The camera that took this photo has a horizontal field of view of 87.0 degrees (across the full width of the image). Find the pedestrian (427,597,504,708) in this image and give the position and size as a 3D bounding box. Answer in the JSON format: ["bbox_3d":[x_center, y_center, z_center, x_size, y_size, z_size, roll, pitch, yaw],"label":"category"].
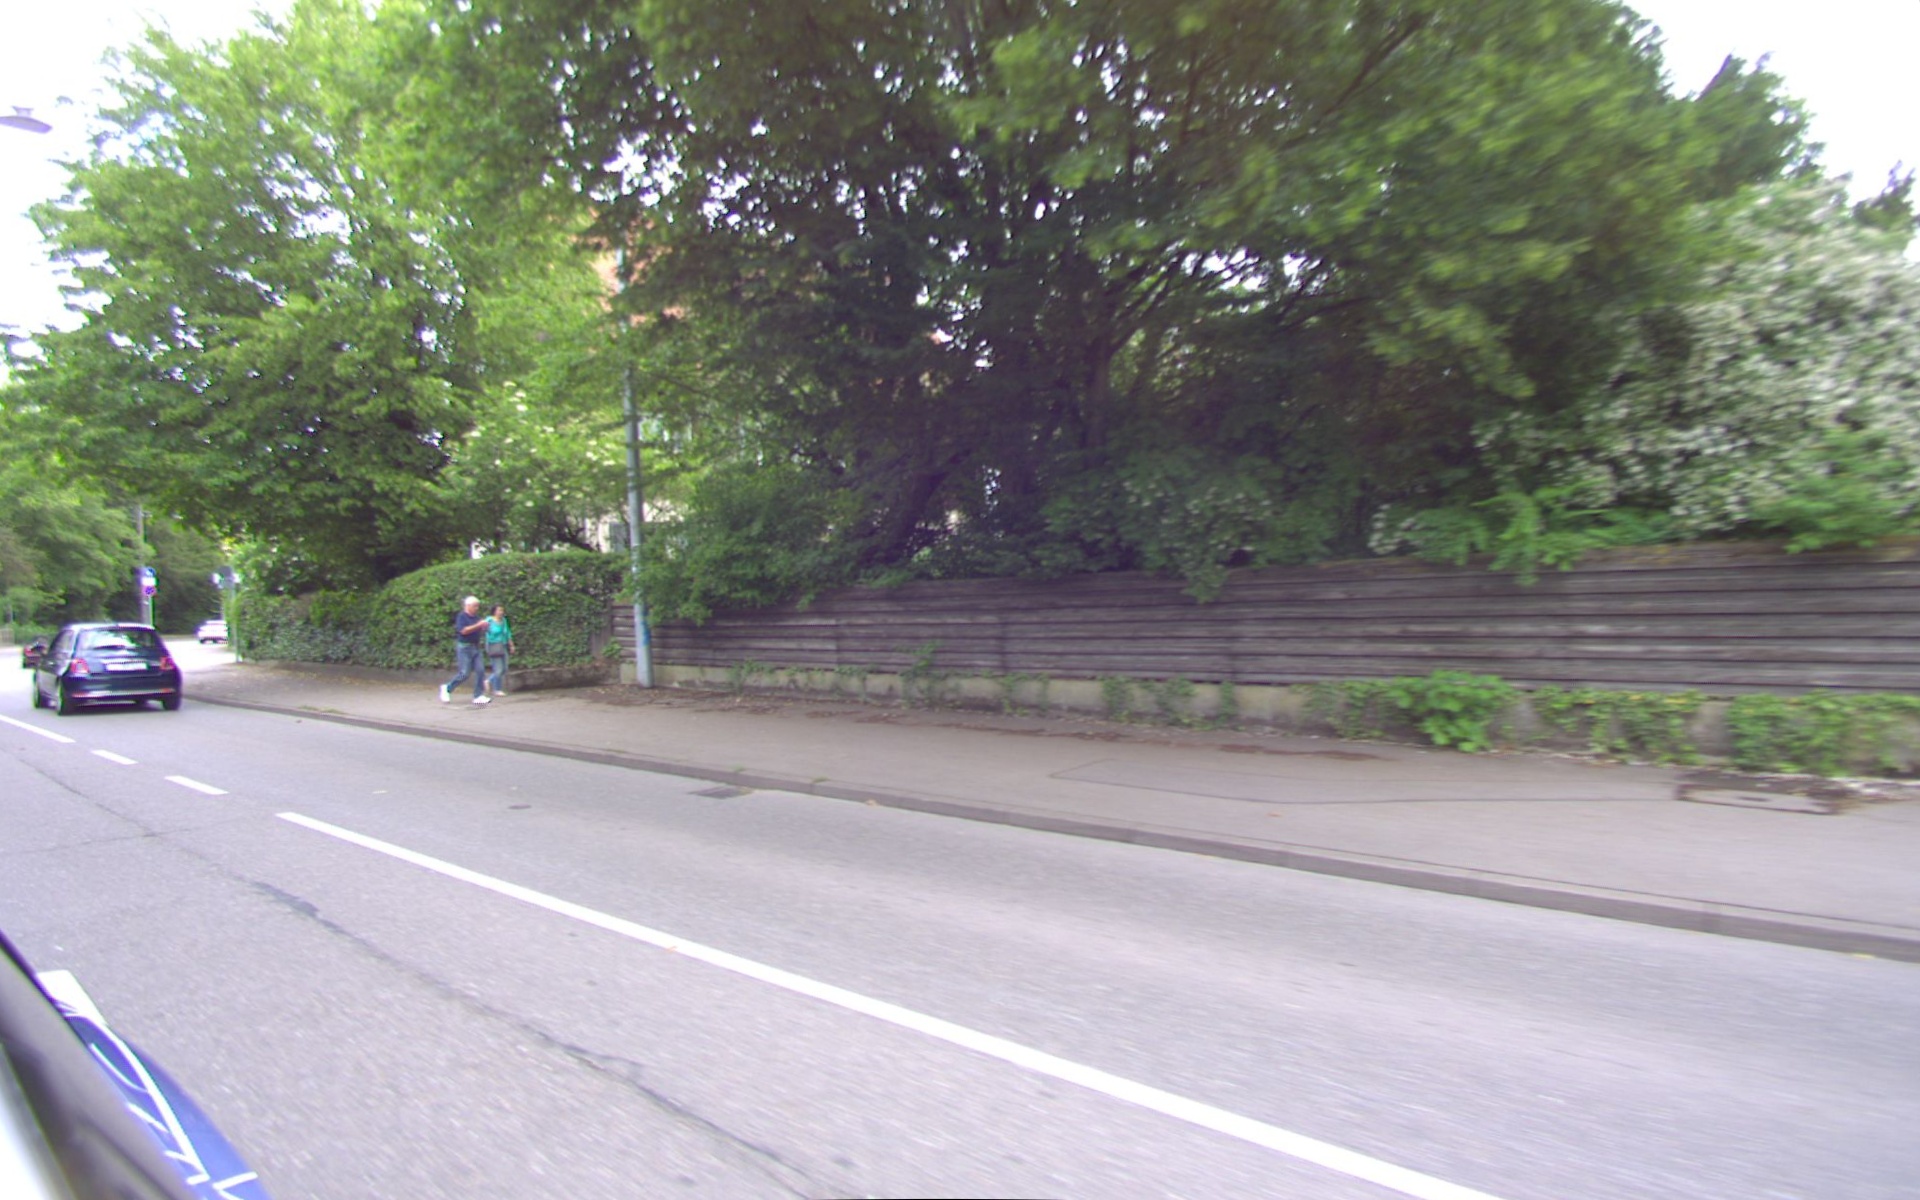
[{"bbox_3d":[-7.748,0.801,15.859,0.915,1.674,0.625,-1,0,28],"label":"pedestrian"}]

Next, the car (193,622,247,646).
[{"bbox_3d":[-48.573,2.208,66.509,1.782,1.454,4.212,0,-1,-20],"label":"car"}]

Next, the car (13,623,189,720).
[{"bbox_3d":[-14.792,1.160,17.376,3.527,1.483,1.703,-2,-2,39],"label":"car"}]

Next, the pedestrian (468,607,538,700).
[{"bbox_3d":[-7.507,0.871,16.642,0.754,1.460,0.665,-2,2,27],"label":"pedestrian"}]

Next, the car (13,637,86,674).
[{"bbox_3d":[-31.940,1.902,35.588,1.669,1.186,3.794,0,-2,-39],"label":"car"}]

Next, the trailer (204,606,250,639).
[{"bbox_3d":[-68.090,2.109,93.993,3.073,2.921,1.598,-1,-1,-17],"label":"trailer"}]
